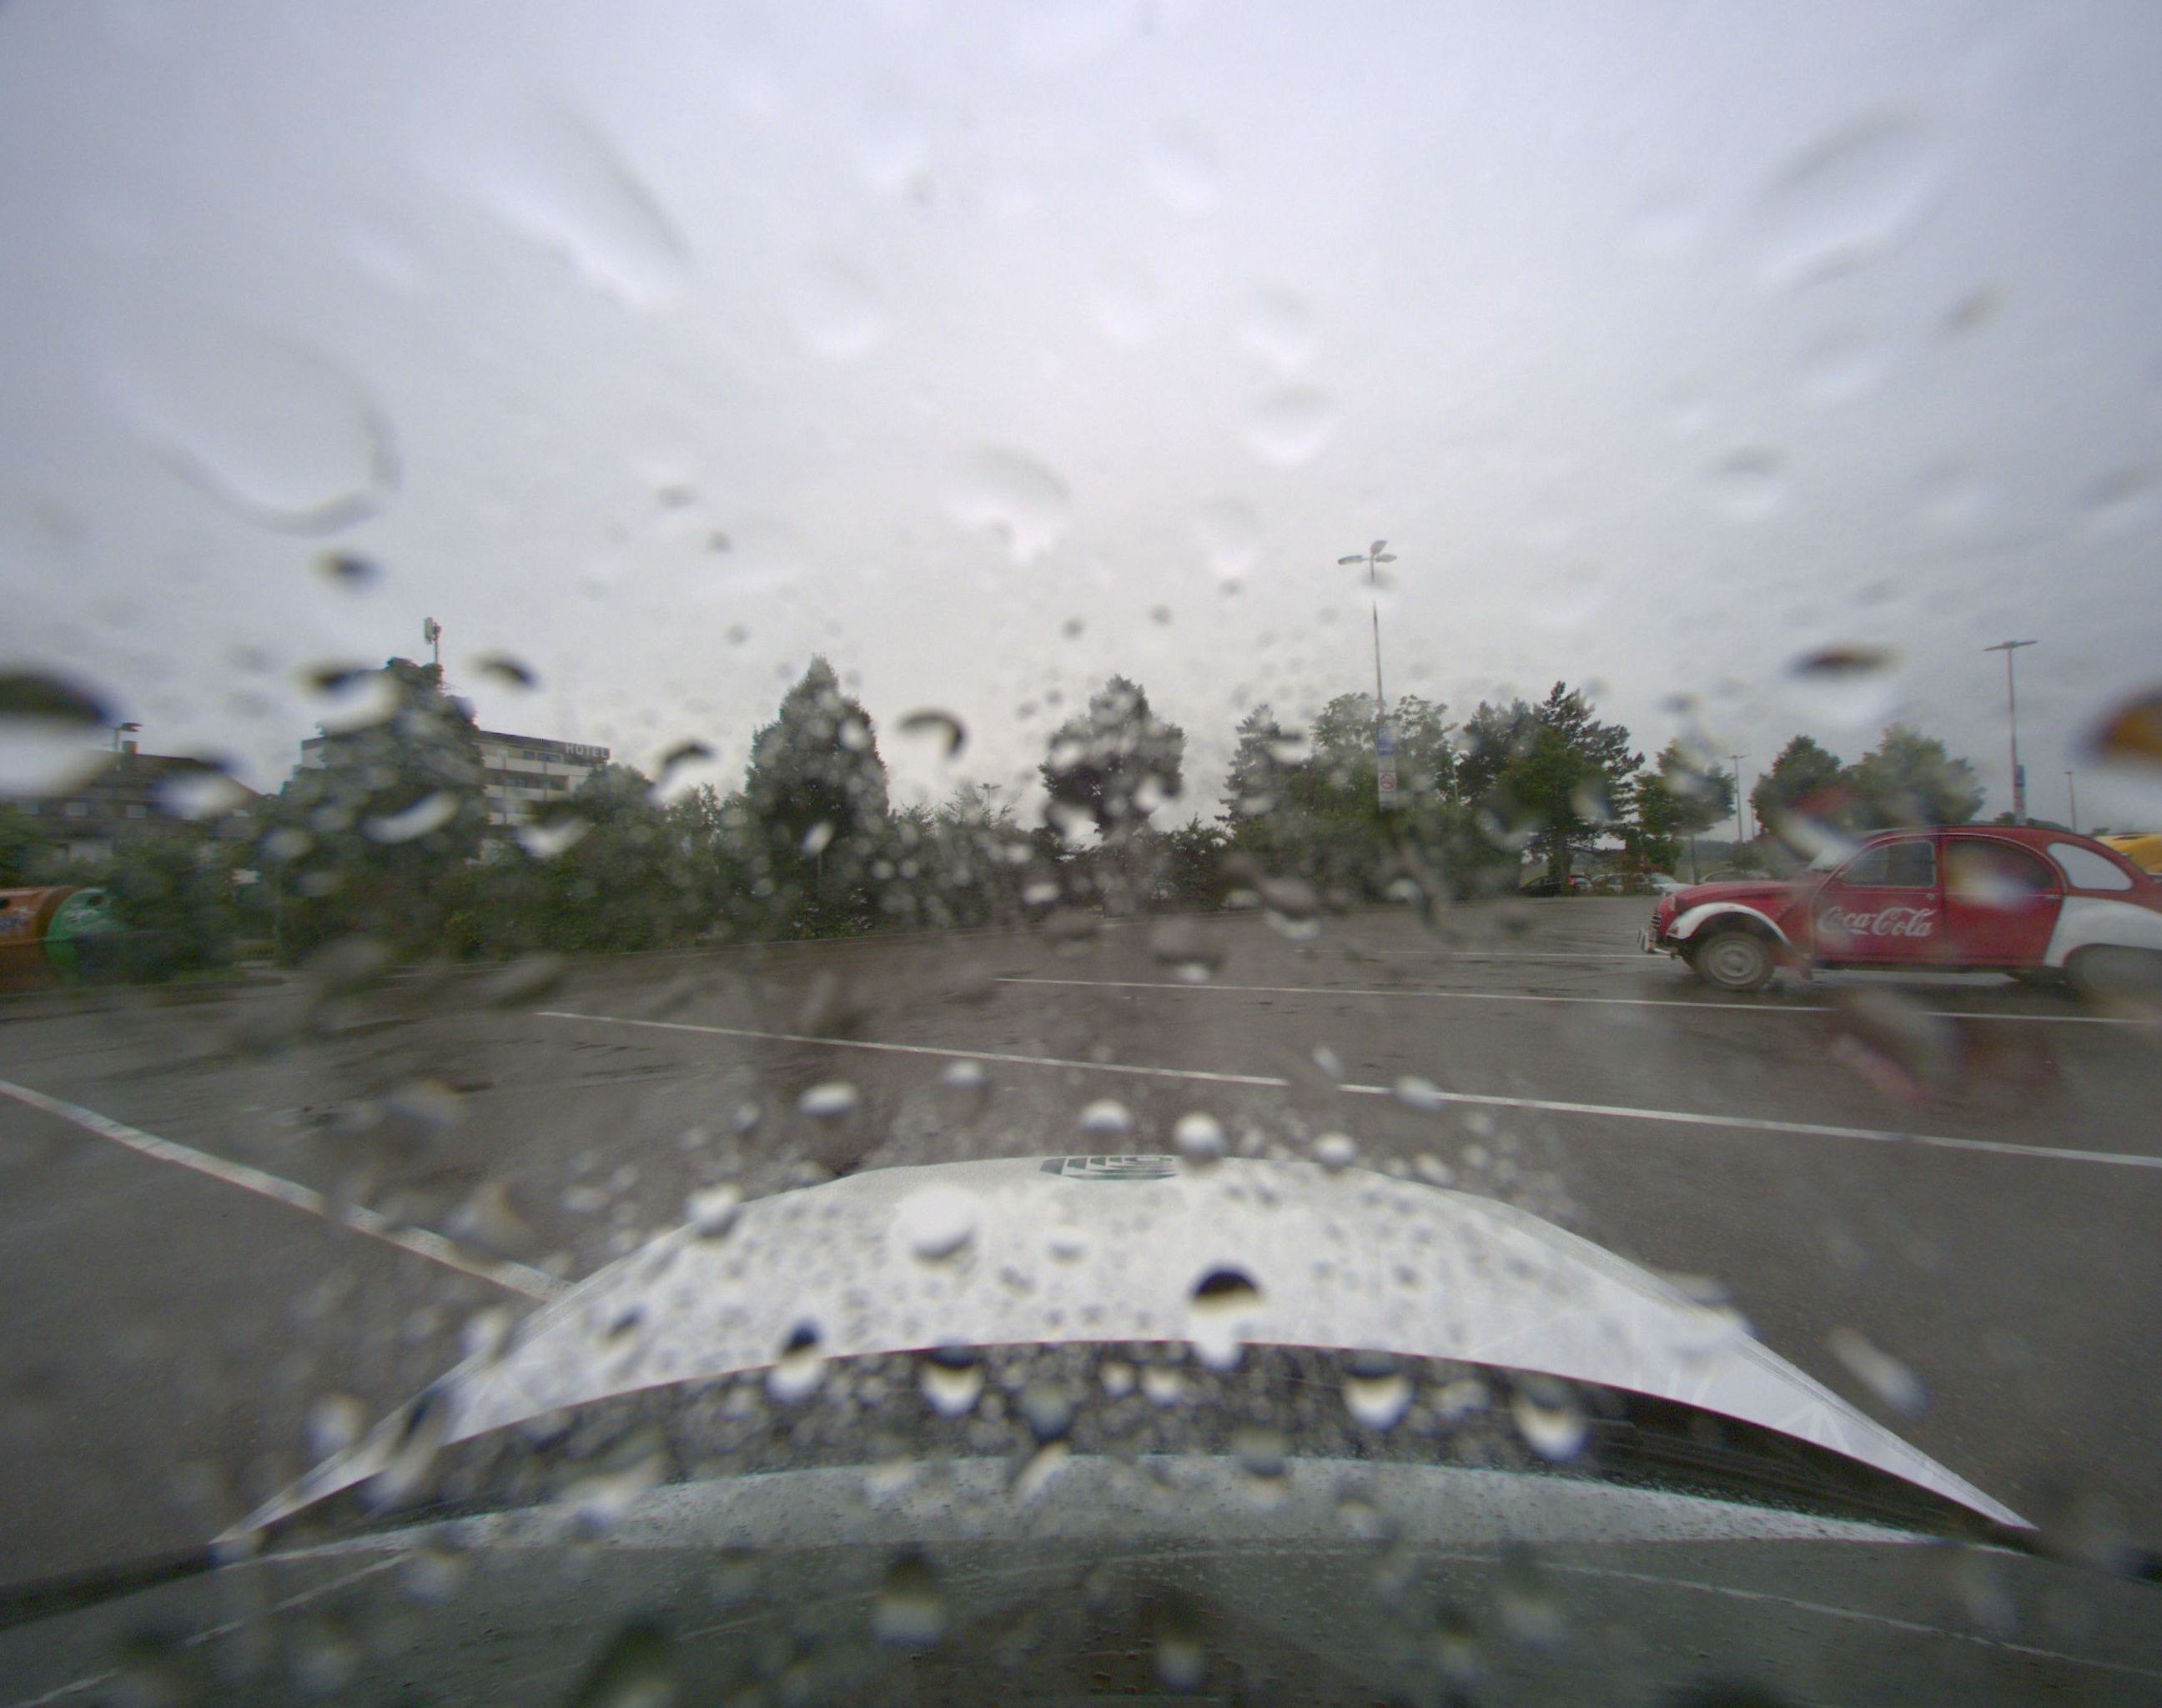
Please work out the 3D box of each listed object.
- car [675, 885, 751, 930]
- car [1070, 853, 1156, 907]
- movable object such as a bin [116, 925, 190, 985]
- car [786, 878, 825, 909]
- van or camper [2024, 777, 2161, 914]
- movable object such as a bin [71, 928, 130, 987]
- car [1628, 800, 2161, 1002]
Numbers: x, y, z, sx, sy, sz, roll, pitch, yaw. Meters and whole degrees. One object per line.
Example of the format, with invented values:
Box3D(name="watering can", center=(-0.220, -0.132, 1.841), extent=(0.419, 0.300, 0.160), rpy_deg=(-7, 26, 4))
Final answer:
Box3D(name="car", center=(-14.201, 2.009, 31.664), extent=(1.883, 1.472, 4.743), rpy_deg=(-3, -1, -15))
Box3D(name="car", center=(1.007, 0.908, 28.179), extent=(1.784, 1.628, 4.072), rpy_deg=(-3, -1, -15))
Box3D(name="movable object such as a bin", center=(-15.488, 1.680, 13.602), extent=(0.551, 0.920, 0.633), rpy_deg=(-3, -1, 16))
Box3D(name="car", center=(-16.813, 2.401, 49.890), extent=(1.796, 1.693, 4.029), rpy_deg=(-3, -1, -14))
Box3D(name="van or camper", center=(20.427, -0.264, 13.172), extent=(6.336, 2.246, 2.148), rpy_deg=(-3, -1, 29))
Box3D(name="movable object such as a bin", center=(-16.344, 1.712, 13.582), extent=(0.412, 0.920, 0.497), rpy_deg=(-3, -1, 16))
Box3D(name="car", center=(7.608, 0.407, 7.637), extent=(4.004, 1.556, 1.560), rpy_deg=(-3, -1, 32))
